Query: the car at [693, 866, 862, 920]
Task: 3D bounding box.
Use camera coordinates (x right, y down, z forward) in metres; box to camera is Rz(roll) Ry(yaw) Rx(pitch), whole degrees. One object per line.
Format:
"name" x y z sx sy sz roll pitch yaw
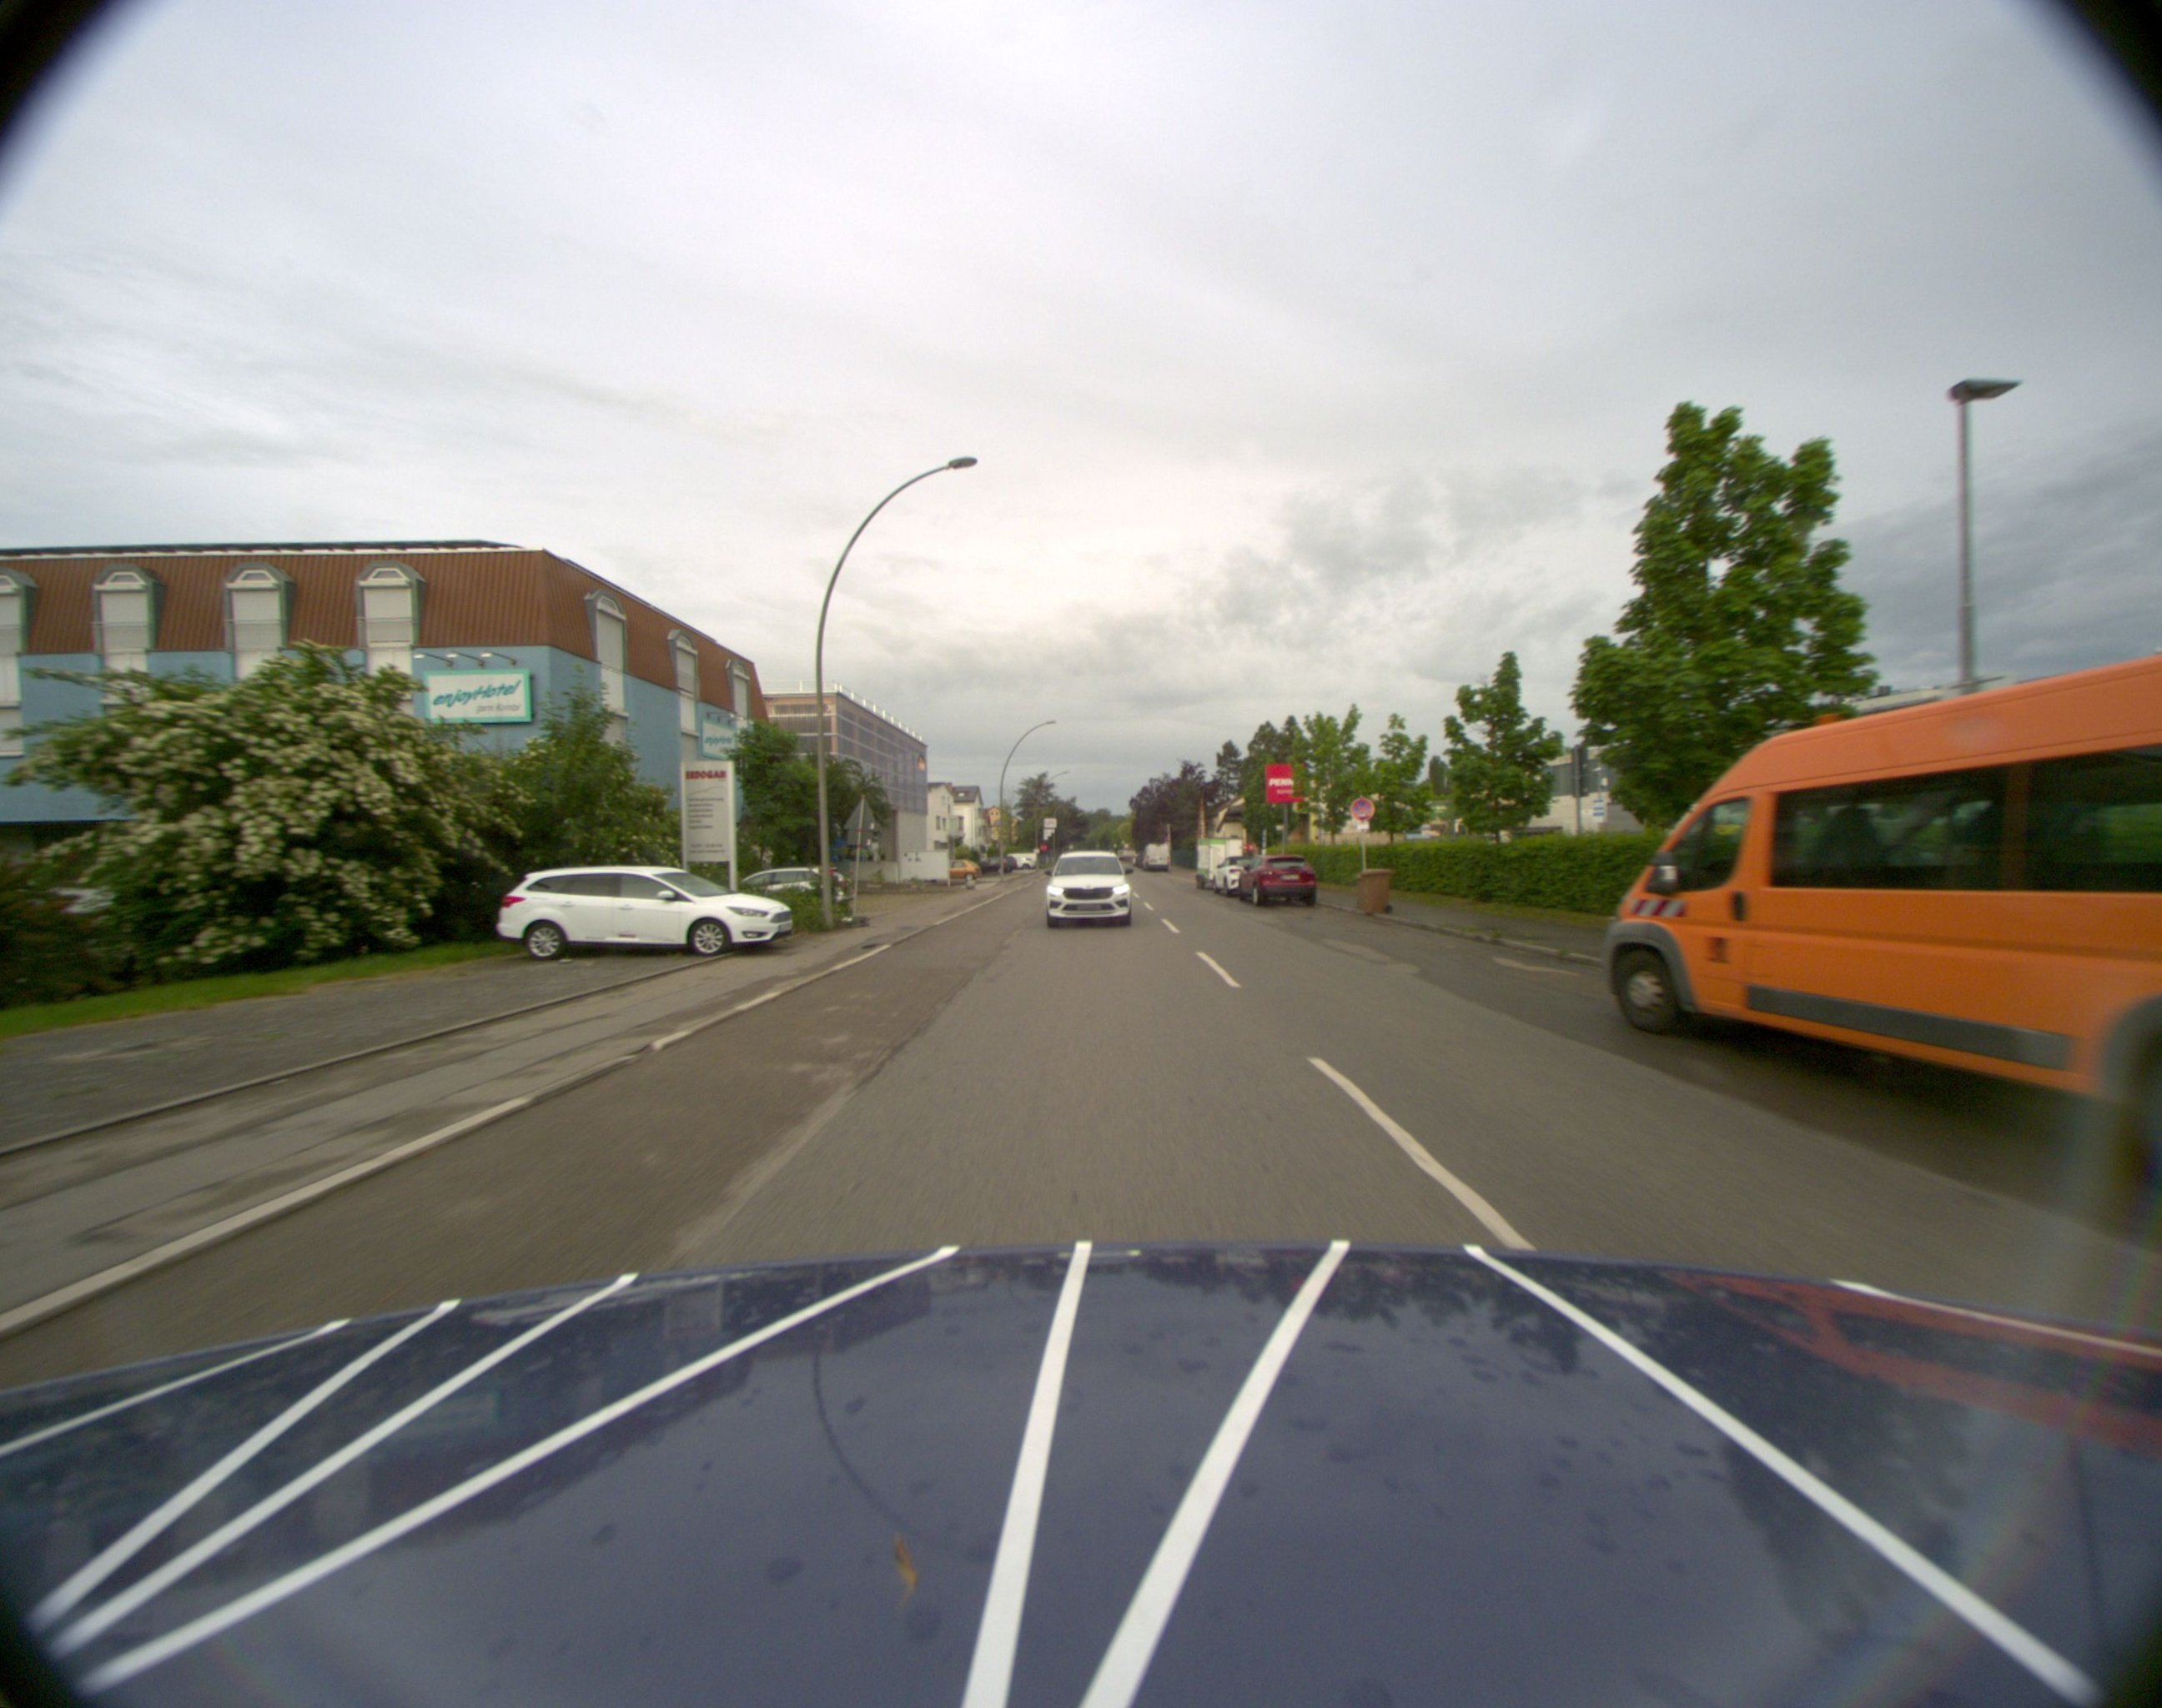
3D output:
"car" -9.280 1.174 23.497 4.427 1.384 1.880 -3 0 -1

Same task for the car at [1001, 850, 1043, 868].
"car" -6.948 0.578 90.120 4.743 1.875 2.000 -3 1 1

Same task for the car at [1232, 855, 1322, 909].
"car" 6.241 0.830 24.667 1.810 1.564 4.342 -1 0 1

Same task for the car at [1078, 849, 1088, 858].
"car" 0.404 -0.088 158.126 1.735 1.817 5.553 -4 1 2

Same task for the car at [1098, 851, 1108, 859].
"car" 4.085 0.161 141.106 1.743 1.458 4.545 -3 1 0

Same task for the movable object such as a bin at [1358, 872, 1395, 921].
"movable object such as a bin" 7.270 1.034 18.735 0.674 1.151 0.621 -2 1 6

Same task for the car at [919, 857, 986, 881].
"car" -8.266 0.954 49.125 3.997 1.422 1.630 -2 1 0

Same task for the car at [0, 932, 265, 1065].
"car" -17.087 2.384 13.204 1.804 1.576 3.655 -2 1 -1

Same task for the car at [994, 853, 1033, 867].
"car" -7.795 0.693 87.832 4.331 1.371 1.850 -3 1 0

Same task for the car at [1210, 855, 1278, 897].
"car" 6.301 0.824 29.720 1.777 1.490 4.137 -1 0 0

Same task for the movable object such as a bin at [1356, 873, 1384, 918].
"movable object such as a bin" 7.370 1.051 19.380 0.492 1.076 0.621 -2 1 6

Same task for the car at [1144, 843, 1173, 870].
"car" 7.272 0.189 71.806 2.163 2.413 6.459 2 1 1

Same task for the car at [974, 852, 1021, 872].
"car" -8.052 0.750 73.806 4.237 1.665 1.980 -3 1 1

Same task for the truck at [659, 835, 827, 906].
"truck" -20.020 0.922 45.404 8.557 3.686 2.721 -3 1 -1

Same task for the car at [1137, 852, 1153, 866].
"car" 7.823 0.613 93.126 1.665 1.575 3.915 0 1 0

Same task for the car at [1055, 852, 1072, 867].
"car" -1.977 0.598 85.223 1.743 1.458 4.545 -3 1 0

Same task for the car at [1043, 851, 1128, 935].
"car" 0.062 0.811 17.929 1.692 1.651 3.999 -3 1 -1

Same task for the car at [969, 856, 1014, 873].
"car" -8.389 0.988 71.478 3.975 1.481 1.833 -2 1 2

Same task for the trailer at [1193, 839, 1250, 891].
"trailer" 6.578 0.479 36.003 1.817 2.300 4.730 1 0 0

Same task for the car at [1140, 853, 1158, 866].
"car" 7.487 0.590 83.965 1.665 1.440 4.316 0 1 -1

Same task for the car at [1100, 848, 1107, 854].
"car" 6.590 -0.960 220.802 1.898 1.678 4.231 0 1 2

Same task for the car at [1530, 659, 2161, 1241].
"car" 5.771 0.398 5.015 2.130 2.523 6.022 -1 0 1

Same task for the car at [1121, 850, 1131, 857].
"car" 8.992 -0.108 150.760 1.820 1.419 4.981 0 1 2

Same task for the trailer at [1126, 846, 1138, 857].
"trailer" 8.721 -0.385 130.167 1.934 1.755 4.548 -2 1 2

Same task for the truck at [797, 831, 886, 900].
"truck" -14.252 0.647 45.483 4.155 3.652 2.719 -5 1 -1

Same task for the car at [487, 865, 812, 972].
"car" -7.115 1.033 12.875 4.349 1.467 1.902 -2 1 0

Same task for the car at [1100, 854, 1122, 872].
"car" 2.653 0.820 68.447 1.743 1.458 3.839 -3 1 0

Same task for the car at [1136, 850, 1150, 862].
"car" 7.979 0.262 98.432 1.620 1.500 3.660 0 1 2

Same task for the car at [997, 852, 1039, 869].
"car" -7.008 0.727 84.850 4.456 1.615 1.893 -3 1 0
